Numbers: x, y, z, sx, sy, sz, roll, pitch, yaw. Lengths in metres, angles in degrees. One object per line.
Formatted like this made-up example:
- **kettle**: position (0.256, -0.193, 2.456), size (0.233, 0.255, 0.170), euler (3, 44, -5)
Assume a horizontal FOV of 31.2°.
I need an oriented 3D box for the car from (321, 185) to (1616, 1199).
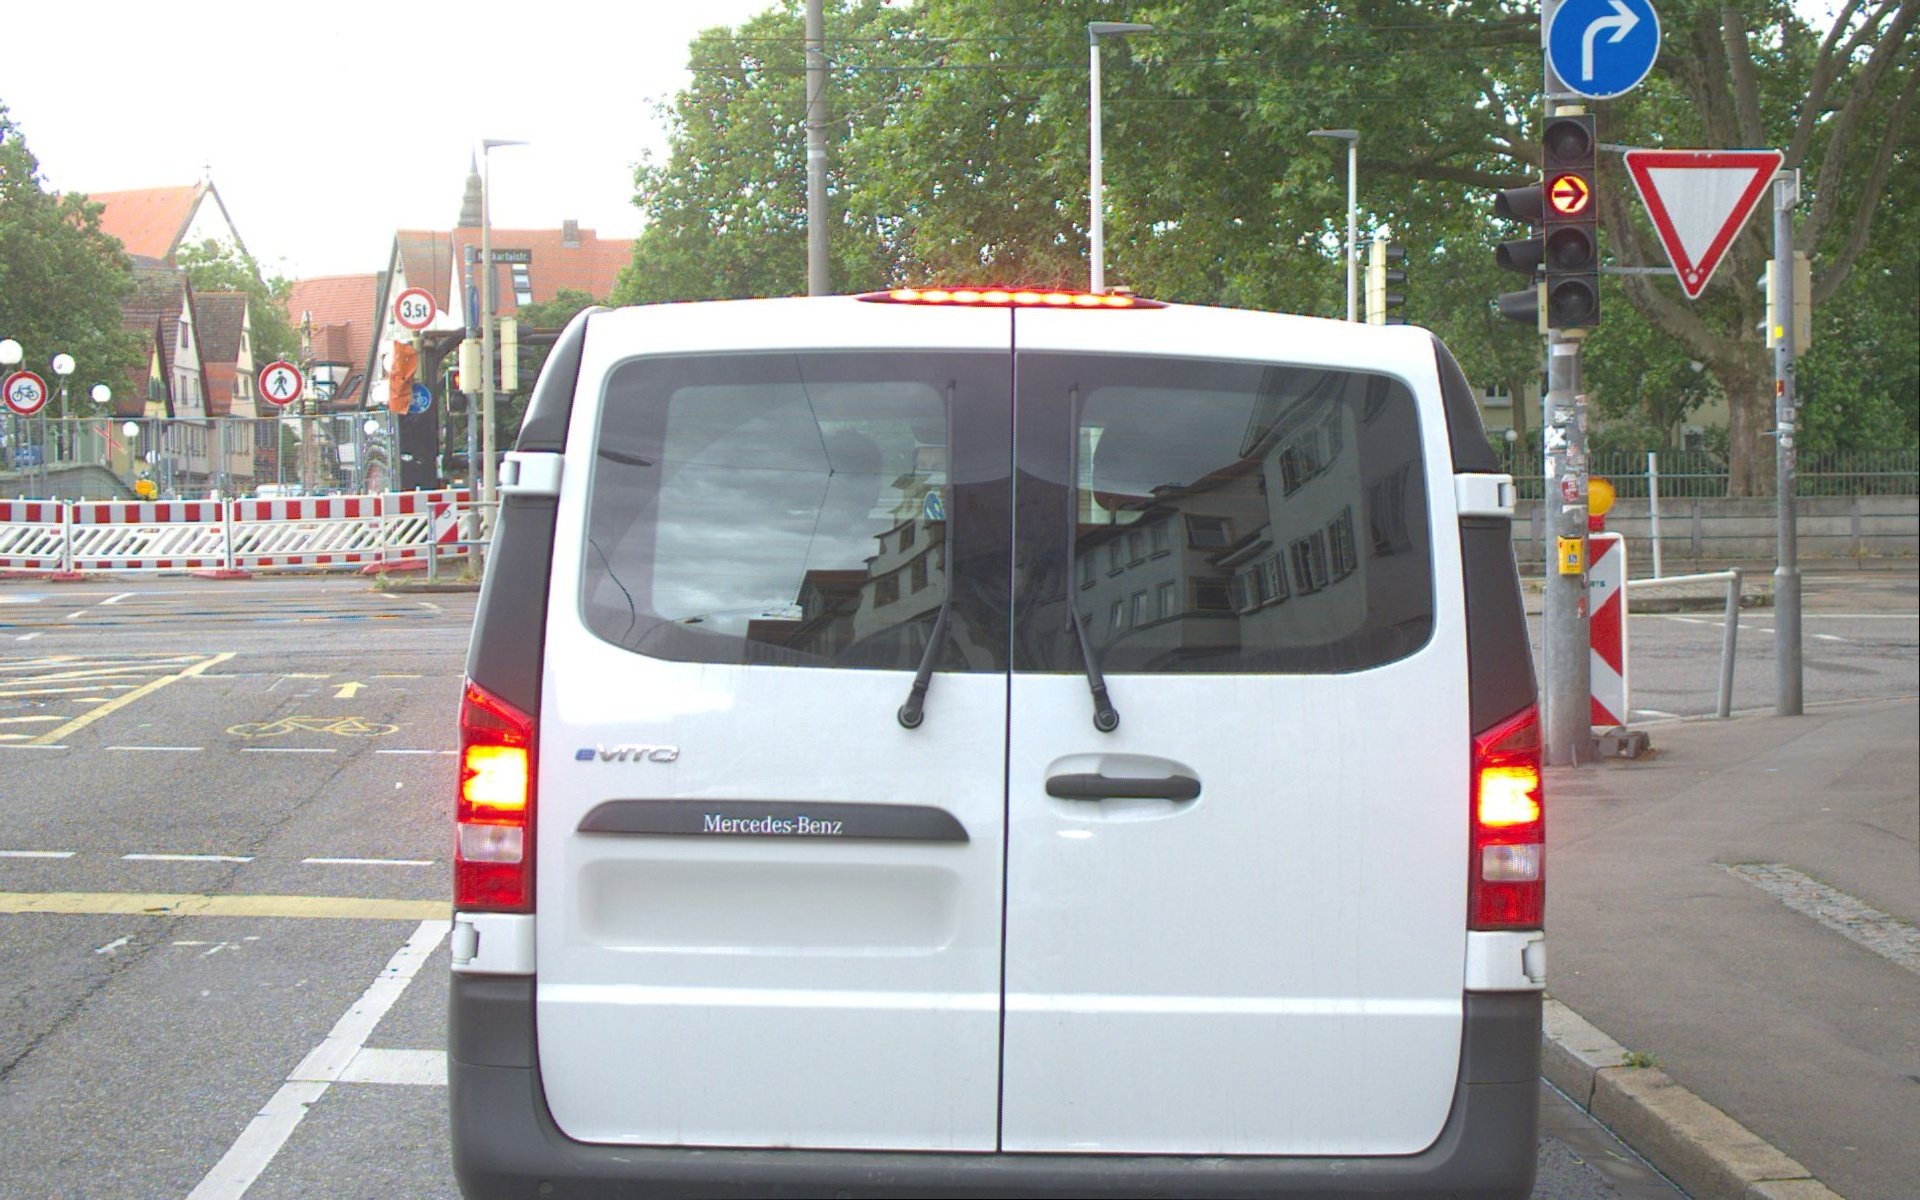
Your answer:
- **car**: position (-0.020, 0.289, 7.593), size (1.951, 2.006, 4.699), euler (1, 2, -1)
